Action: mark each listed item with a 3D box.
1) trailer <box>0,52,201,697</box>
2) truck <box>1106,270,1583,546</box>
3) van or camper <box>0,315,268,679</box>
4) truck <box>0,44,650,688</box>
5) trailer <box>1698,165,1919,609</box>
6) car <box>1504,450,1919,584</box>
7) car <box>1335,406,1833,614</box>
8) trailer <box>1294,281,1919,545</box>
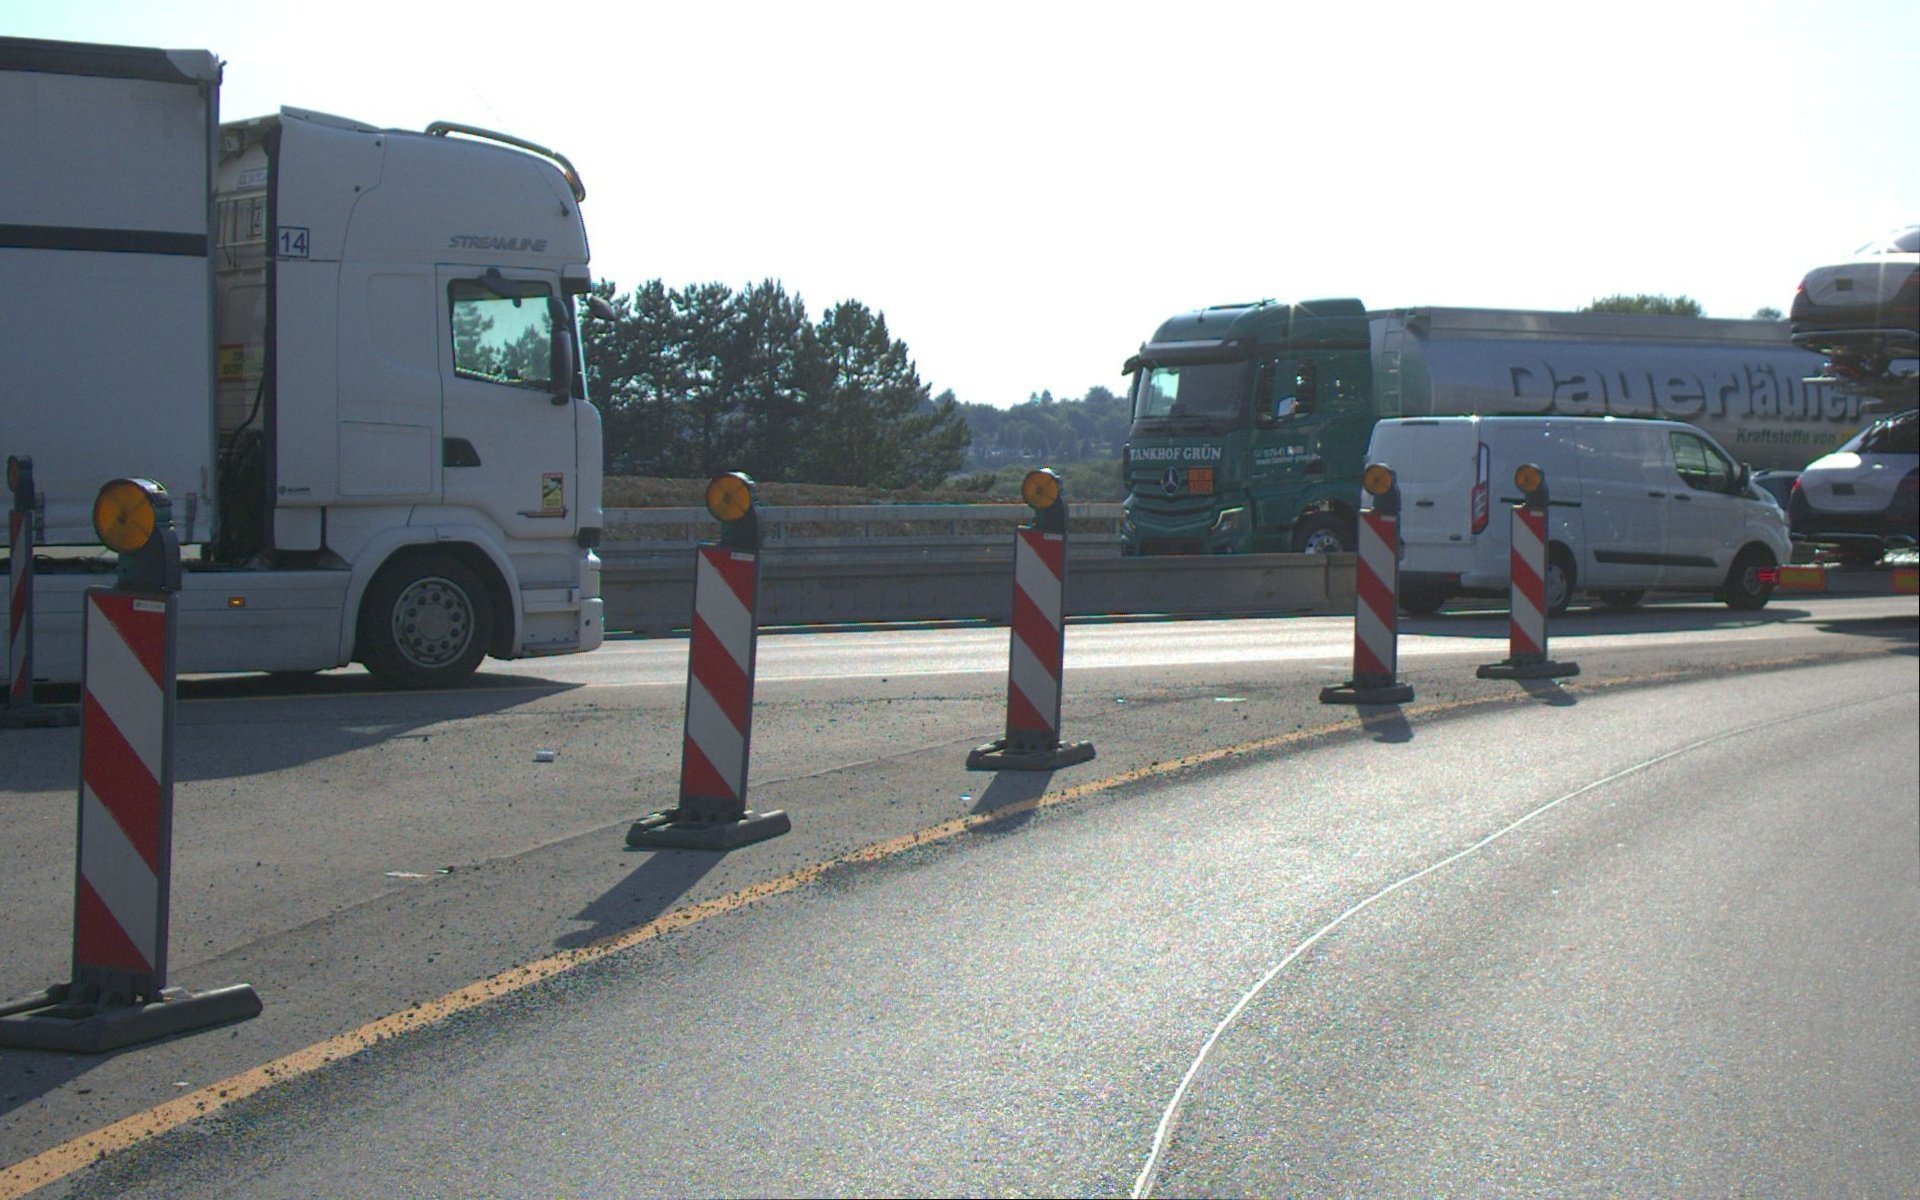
[{"bbox_3d":[-10.965,-1.321,18.430,13.588,3.865,2.488,-1,1,-36],"label":"trailer"},{"bbox_3d":[4.742,-2.255,42.045,5.670,3.123,2.147,-1,0,-33],"label":"truck"},{"bbox_3d":[-8.190,-0.750,25.011,5.885,2.611,2.000,-1,1,-35],"label":"van or camper"},{"bbox_3d":[-5.259,-1.432,22.531,5.993,3.865,2.488,-1,1,-36],"label":"truck"},{"bbox_3d":[14.321,-1.996,36.384,15.697,3.983,2.866,-1,1,-35],"label":"trailer"},{"bbox_3d":[9.041,-1.018,41.049,4.963,1.495,2.035,-1,3,-34],"label":"car"},{"bbox_3d":[6.385,-0.942,34.966,4.963,1.974,2.035,-1,3,-34],"label":"car"},{"bbox_3d":[9.407,-2.315,45.017,10.946,3.123,2.147,-1,0,-32],"label":"trailer"}]
